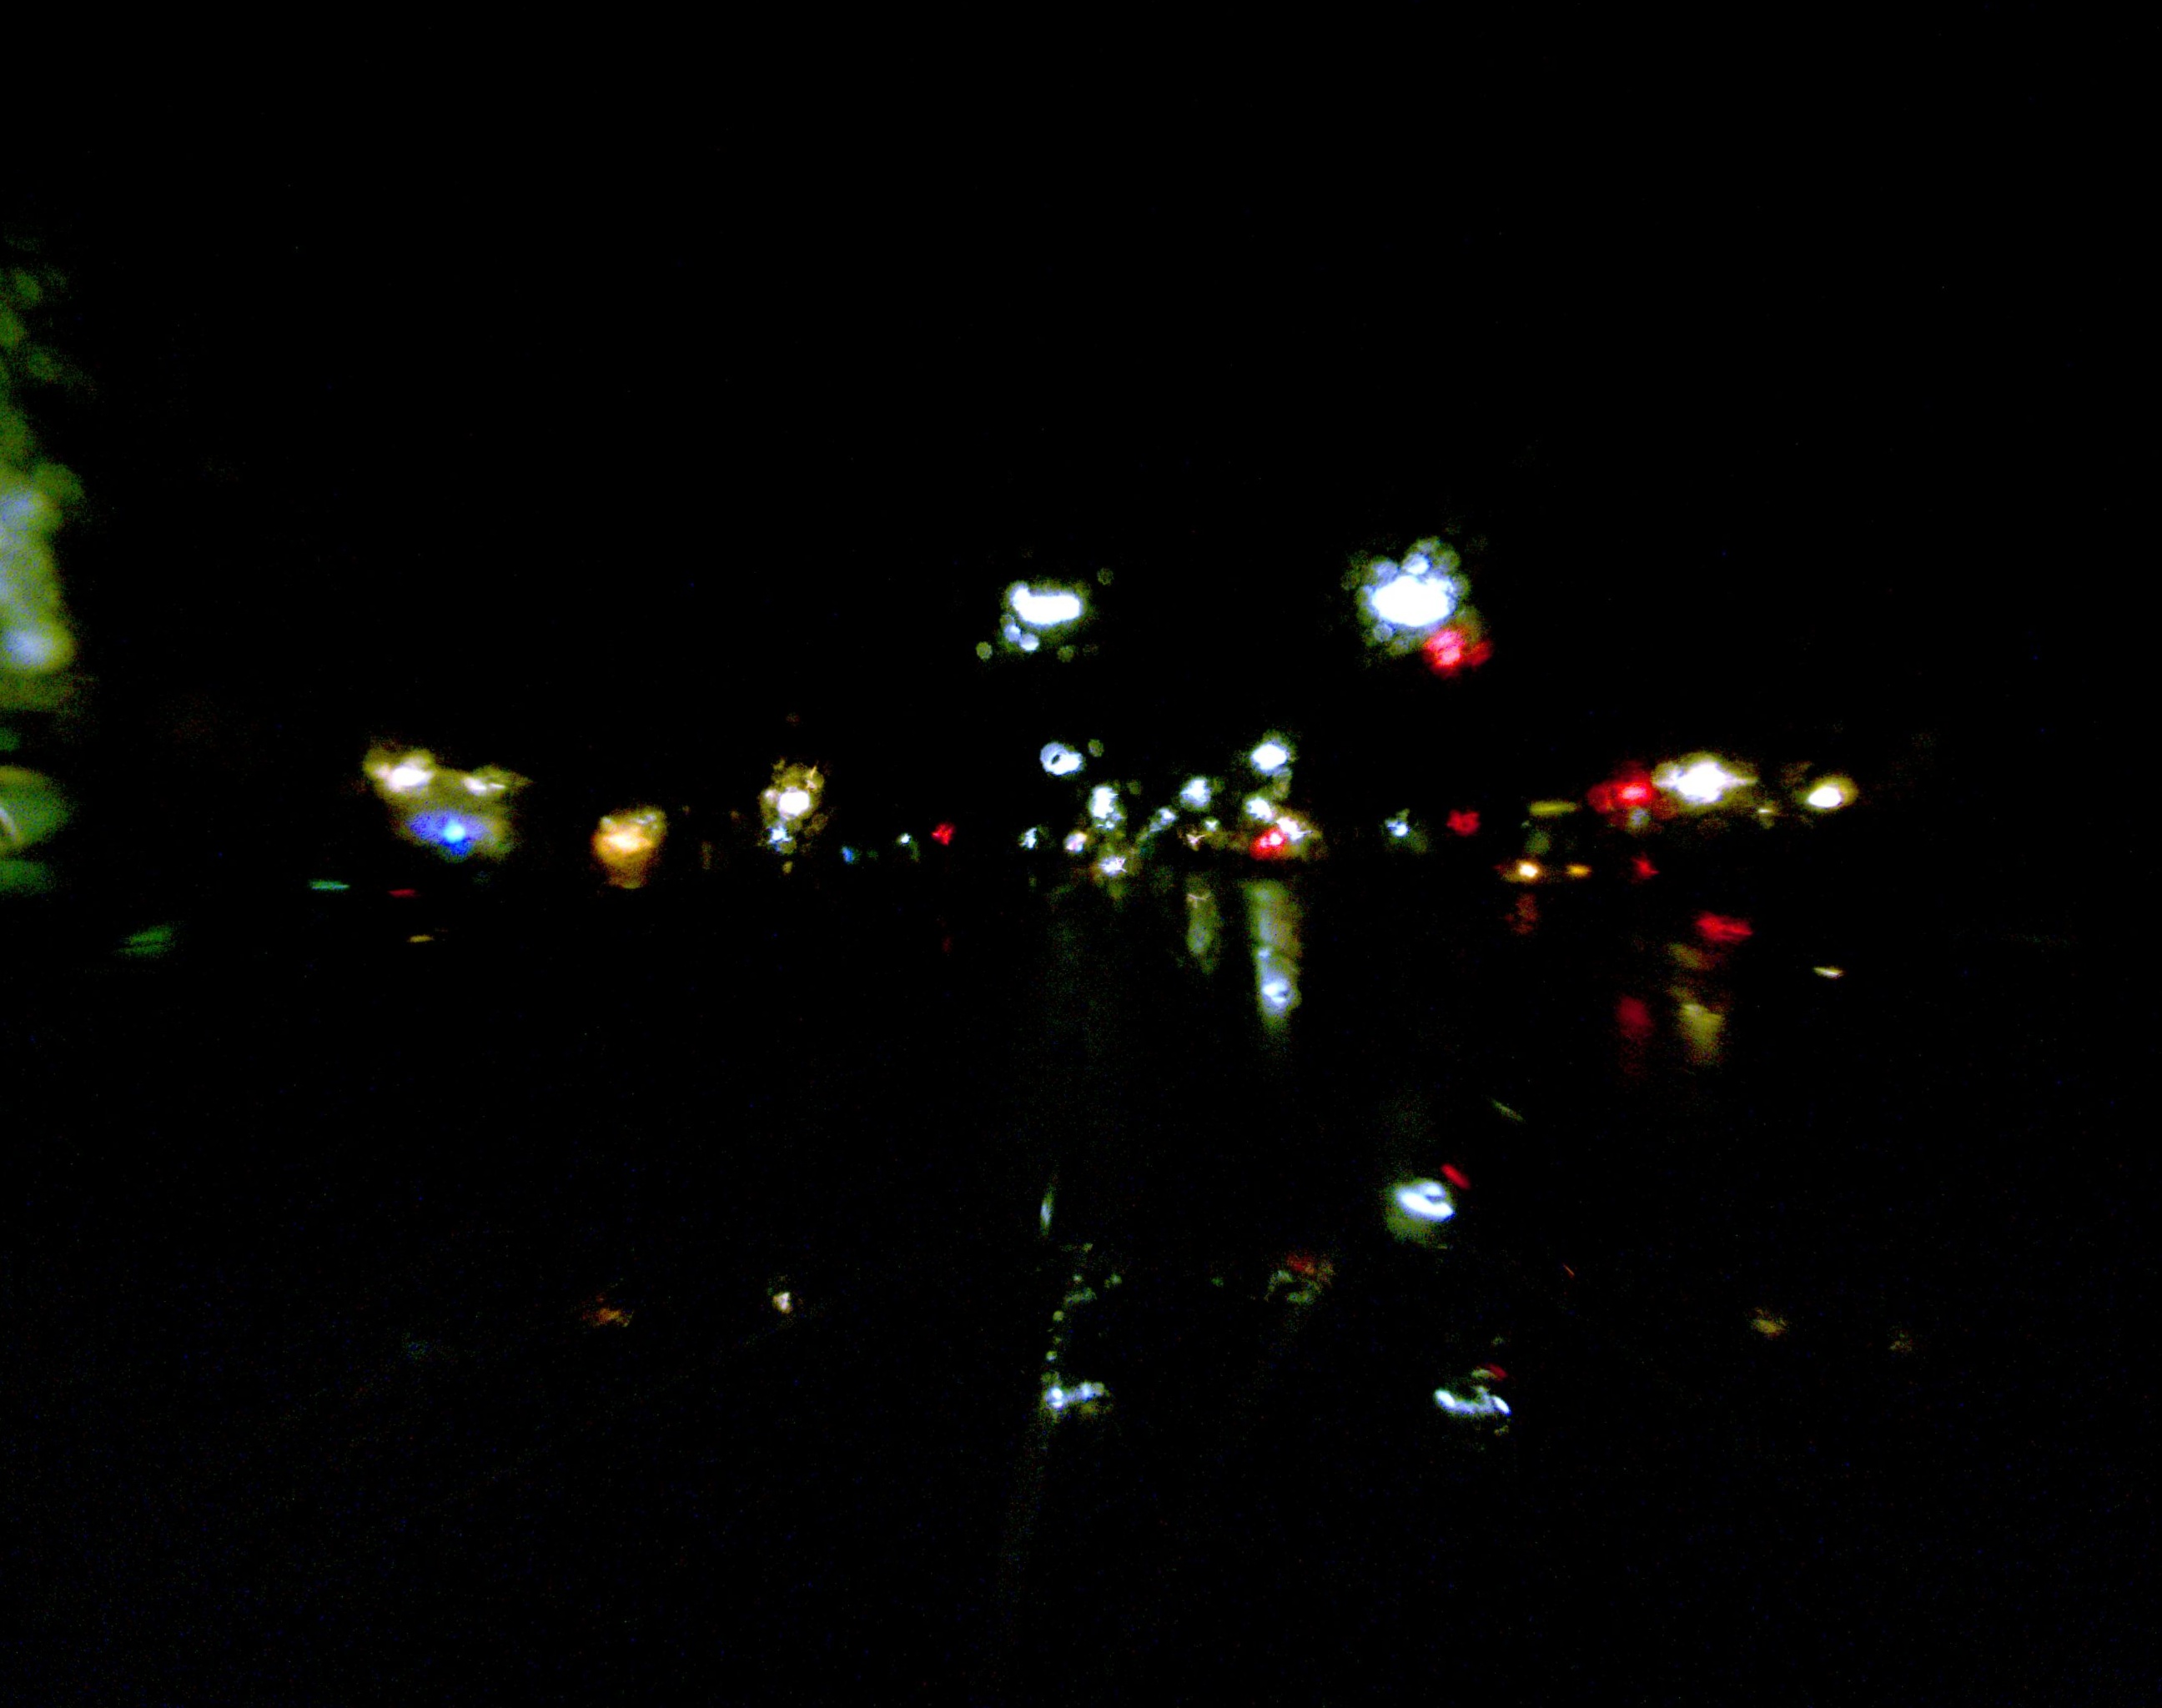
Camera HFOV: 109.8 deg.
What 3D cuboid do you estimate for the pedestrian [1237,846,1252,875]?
[{"bbox_3d":[10.254,0.400,47.681,0.716,1.764,0.671,-3,2,6],"label":"pedestrian"}]

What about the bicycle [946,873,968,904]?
[{"bbox_3d":[-4.304,1.174,26.392,0.572,0.964,1.778,-3,1,-14],"label":"bicycle"}]

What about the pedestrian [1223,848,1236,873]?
[{"bbox_3d":[10.055,0.437,51.433,0.586,1.642,0.558,-4,2,-40],"label":"pedestrian"}]

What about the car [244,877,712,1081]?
[{"bbox_3d":[-5.891,1.069,8.193,1.649,1.433,4.056,3,0,2],"label":"car"}]

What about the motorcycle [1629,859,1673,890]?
[{"bbox_3d":[24.577,0.875,32.752,2.253,1.206,0.790,-3,2,-33],"label":"motorcycle"}]

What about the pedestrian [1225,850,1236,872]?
[{"bbox_3d":[10.484,0.463,53.264,0.480,1.519,0.585,-3,2,-14],"label":"pedestrian"}]

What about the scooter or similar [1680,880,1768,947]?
[{"bbox_3d":[11.450,1.039,13.575,0.641,1.046,1.370,-3,1,14],"label":"scooter or similar"}]

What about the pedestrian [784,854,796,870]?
[{"bbox_3d":[-30.556,0.836,79.735,0.872,1.628,0.635,-2,2,28],"label":"pedestrian"}]

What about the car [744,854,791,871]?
[{"bbox_3d":[-32.466,0.853,78.715,4.485,1.585,1.892,-1,2,26],"label":"car"}]

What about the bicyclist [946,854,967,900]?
[{"bbox_3d":[-4.329,0.801,26.435,0.572,1.539,0.815,-3,1,-14],"label":"bicyclist"}]

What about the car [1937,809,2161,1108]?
[{"bbox_3d":[7.574,0.668,3.726,1.899,1.858,4.538,0,1,6],"label":"car"}]

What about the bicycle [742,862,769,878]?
[{"bbox_3d":[-23.409,1.141,54.686,1.625,1.076,0.564,-1,3,-12],"label":"bicycle"}]

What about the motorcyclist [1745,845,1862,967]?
[{"bbox_3d":[10.810,0.742,11.418,0.709,1.721,1.028,1,1,1],"label":"motorcyclist"}]

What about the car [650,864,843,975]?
[{"bbox_3d":[-5.607,1.010,13.240,1.651,1.516,3.580,3,0,1],"label":"car"}]

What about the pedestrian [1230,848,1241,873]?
[{"bbox_3d":[10.352,0.454,50.842,0.401,1.620,0.531,-4,2,-40],"label":"pedestrian"}]

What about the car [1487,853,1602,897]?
[{"bbox_3d":[17.823,0.763,29.249,3.601,1.507,1.922,-1,1,-19],"label":"car"}]

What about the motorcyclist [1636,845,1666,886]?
[{"bbox_3d":[24.561,0.486,32.727,0.821,1.685,0.790,-3,2,-33],"label":"motorcyclist"}]

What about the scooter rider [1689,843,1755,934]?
[{"bbox_3d":[11.452,0.607,13.588,0.641,1.564,0.653,-3,2,14],"label":"scooter rider"}]

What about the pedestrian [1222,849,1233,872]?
[{"bbox_3d":[10.367,0.453,53.839,0.512,1.539,0.574,-3,2,-14],"label":"pedestrian"}]

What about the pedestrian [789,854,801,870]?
[{"bbox_3d":[-30.259,0.808,80.358,0.841,1.628,0.635,-2,2,28],"label":"pedestrian"}]

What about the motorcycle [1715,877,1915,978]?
[{"bbox_3d":[10.803,1.022,11.348,0.709,1.223,2.325,1,1,1],"label":"motorcycle"}]

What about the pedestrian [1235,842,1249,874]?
[{"bbox_3d":[10.465,0.251,49.333,0.609,1.975,0.859,-3,2,0],"label":"pedestrian"}]

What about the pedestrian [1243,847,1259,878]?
[{"bbox_3d":[10.165,0.510,45.525,0.671,1.764,0.717,-3,2,-6],"label":"pedestrian"}]

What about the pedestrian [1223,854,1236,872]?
[{"bbox_3d":[10.198,0.626,52.214,0.586,1.246,0.623,-4,2,-40],"label":"pedestrian"}]
